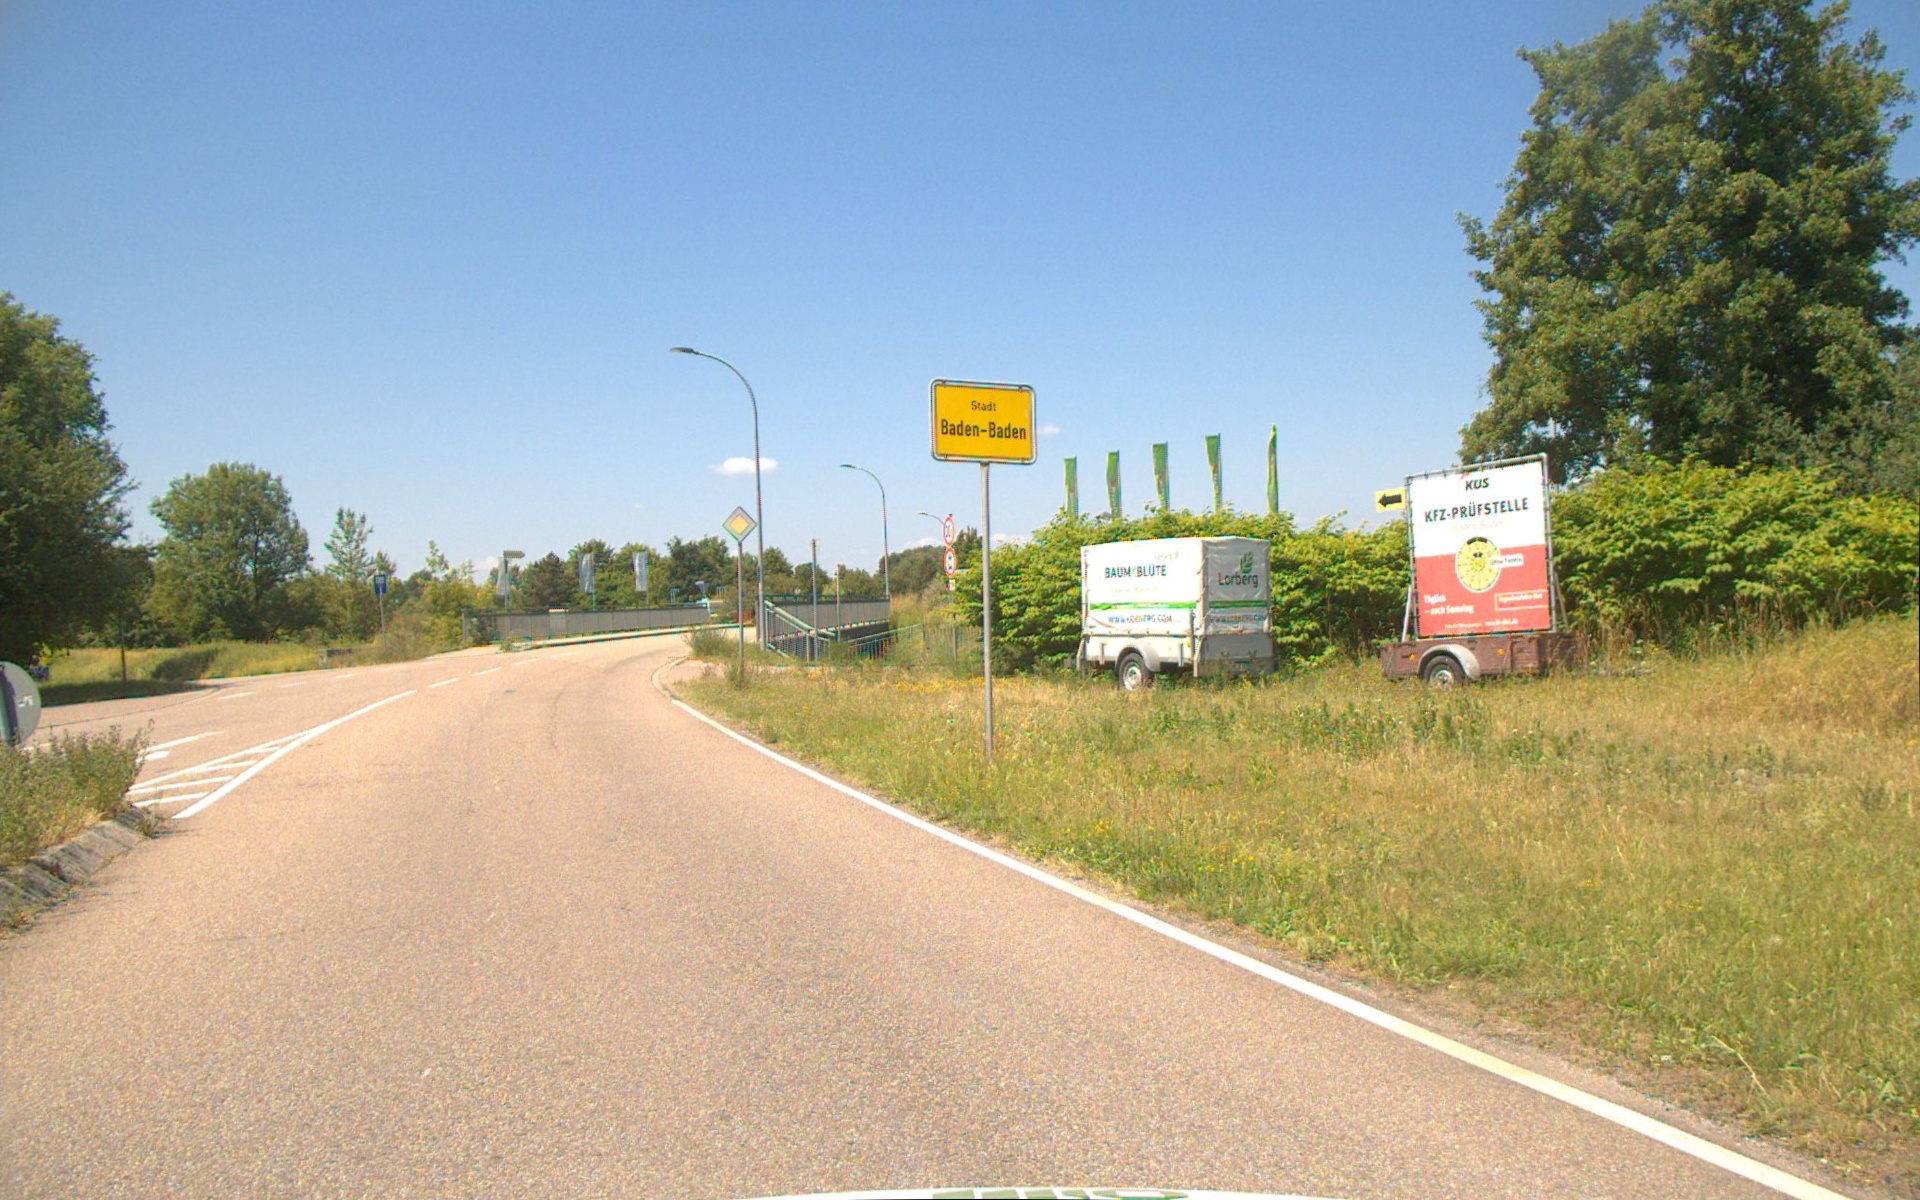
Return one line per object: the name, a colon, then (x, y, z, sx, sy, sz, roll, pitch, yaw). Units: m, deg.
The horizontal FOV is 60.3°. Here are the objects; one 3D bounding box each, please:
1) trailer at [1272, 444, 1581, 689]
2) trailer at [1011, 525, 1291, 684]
trailer: (5.625, -0.351, 20.175, 1.832, 2.717, 3.106, -1, -1, -37)
trailer: (2.699, 0.092, 24.129, 1.832, 2.114, 3.917, -1, -1, -37)
